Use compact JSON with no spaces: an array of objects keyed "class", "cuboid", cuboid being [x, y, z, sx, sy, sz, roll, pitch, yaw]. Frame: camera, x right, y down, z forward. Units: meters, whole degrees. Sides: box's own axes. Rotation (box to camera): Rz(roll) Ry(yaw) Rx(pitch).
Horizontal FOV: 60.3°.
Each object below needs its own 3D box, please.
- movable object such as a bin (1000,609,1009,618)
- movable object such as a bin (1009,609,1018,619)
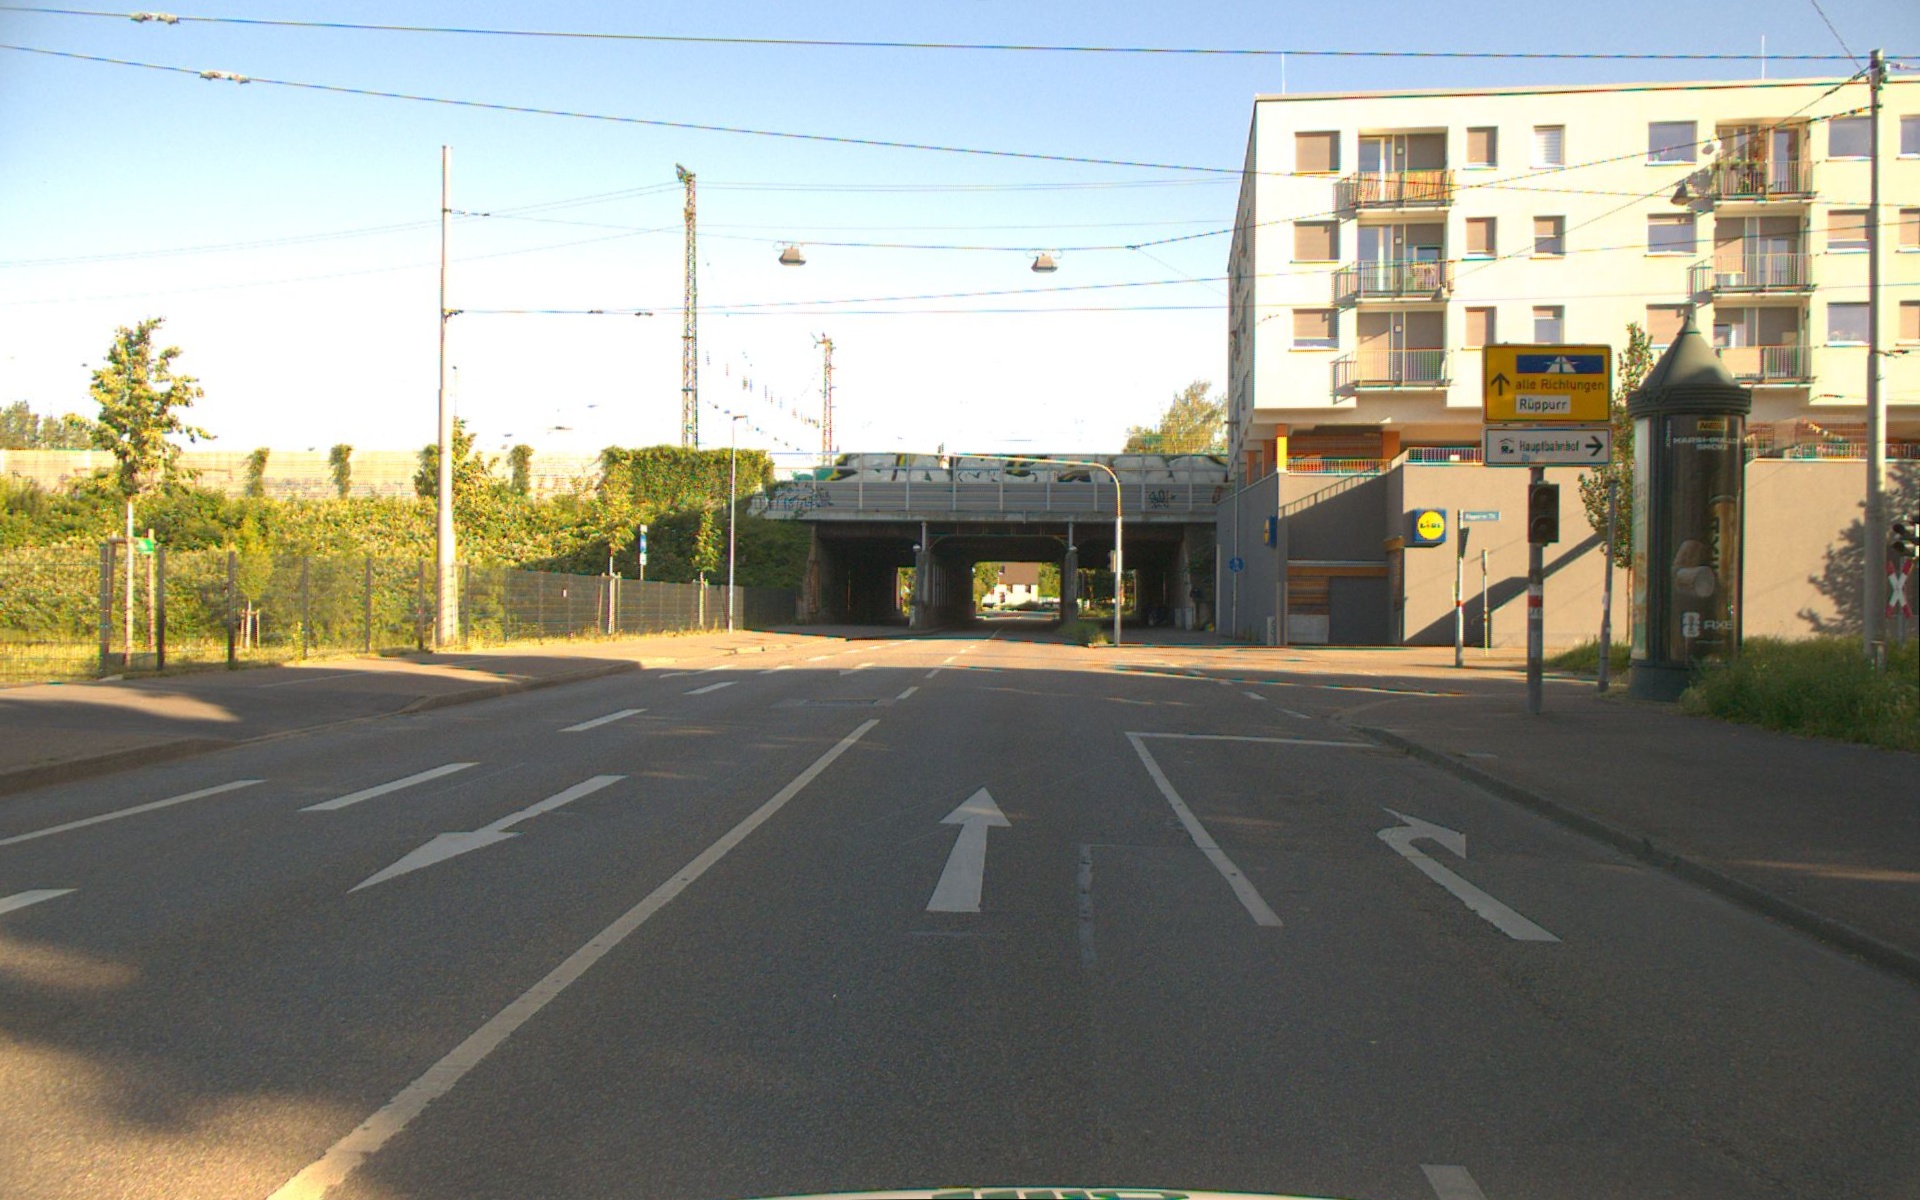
[{"class":"movable object such as a bin","cuboid":[6.977,2.118,258.318,1.338,1.443,1.064,3,-1,-4]},{"class":"movable object such as a bin","cuboid":[8.351,2.193,258.504,1.338,1.443,1.064,3,-1,-4]}]
